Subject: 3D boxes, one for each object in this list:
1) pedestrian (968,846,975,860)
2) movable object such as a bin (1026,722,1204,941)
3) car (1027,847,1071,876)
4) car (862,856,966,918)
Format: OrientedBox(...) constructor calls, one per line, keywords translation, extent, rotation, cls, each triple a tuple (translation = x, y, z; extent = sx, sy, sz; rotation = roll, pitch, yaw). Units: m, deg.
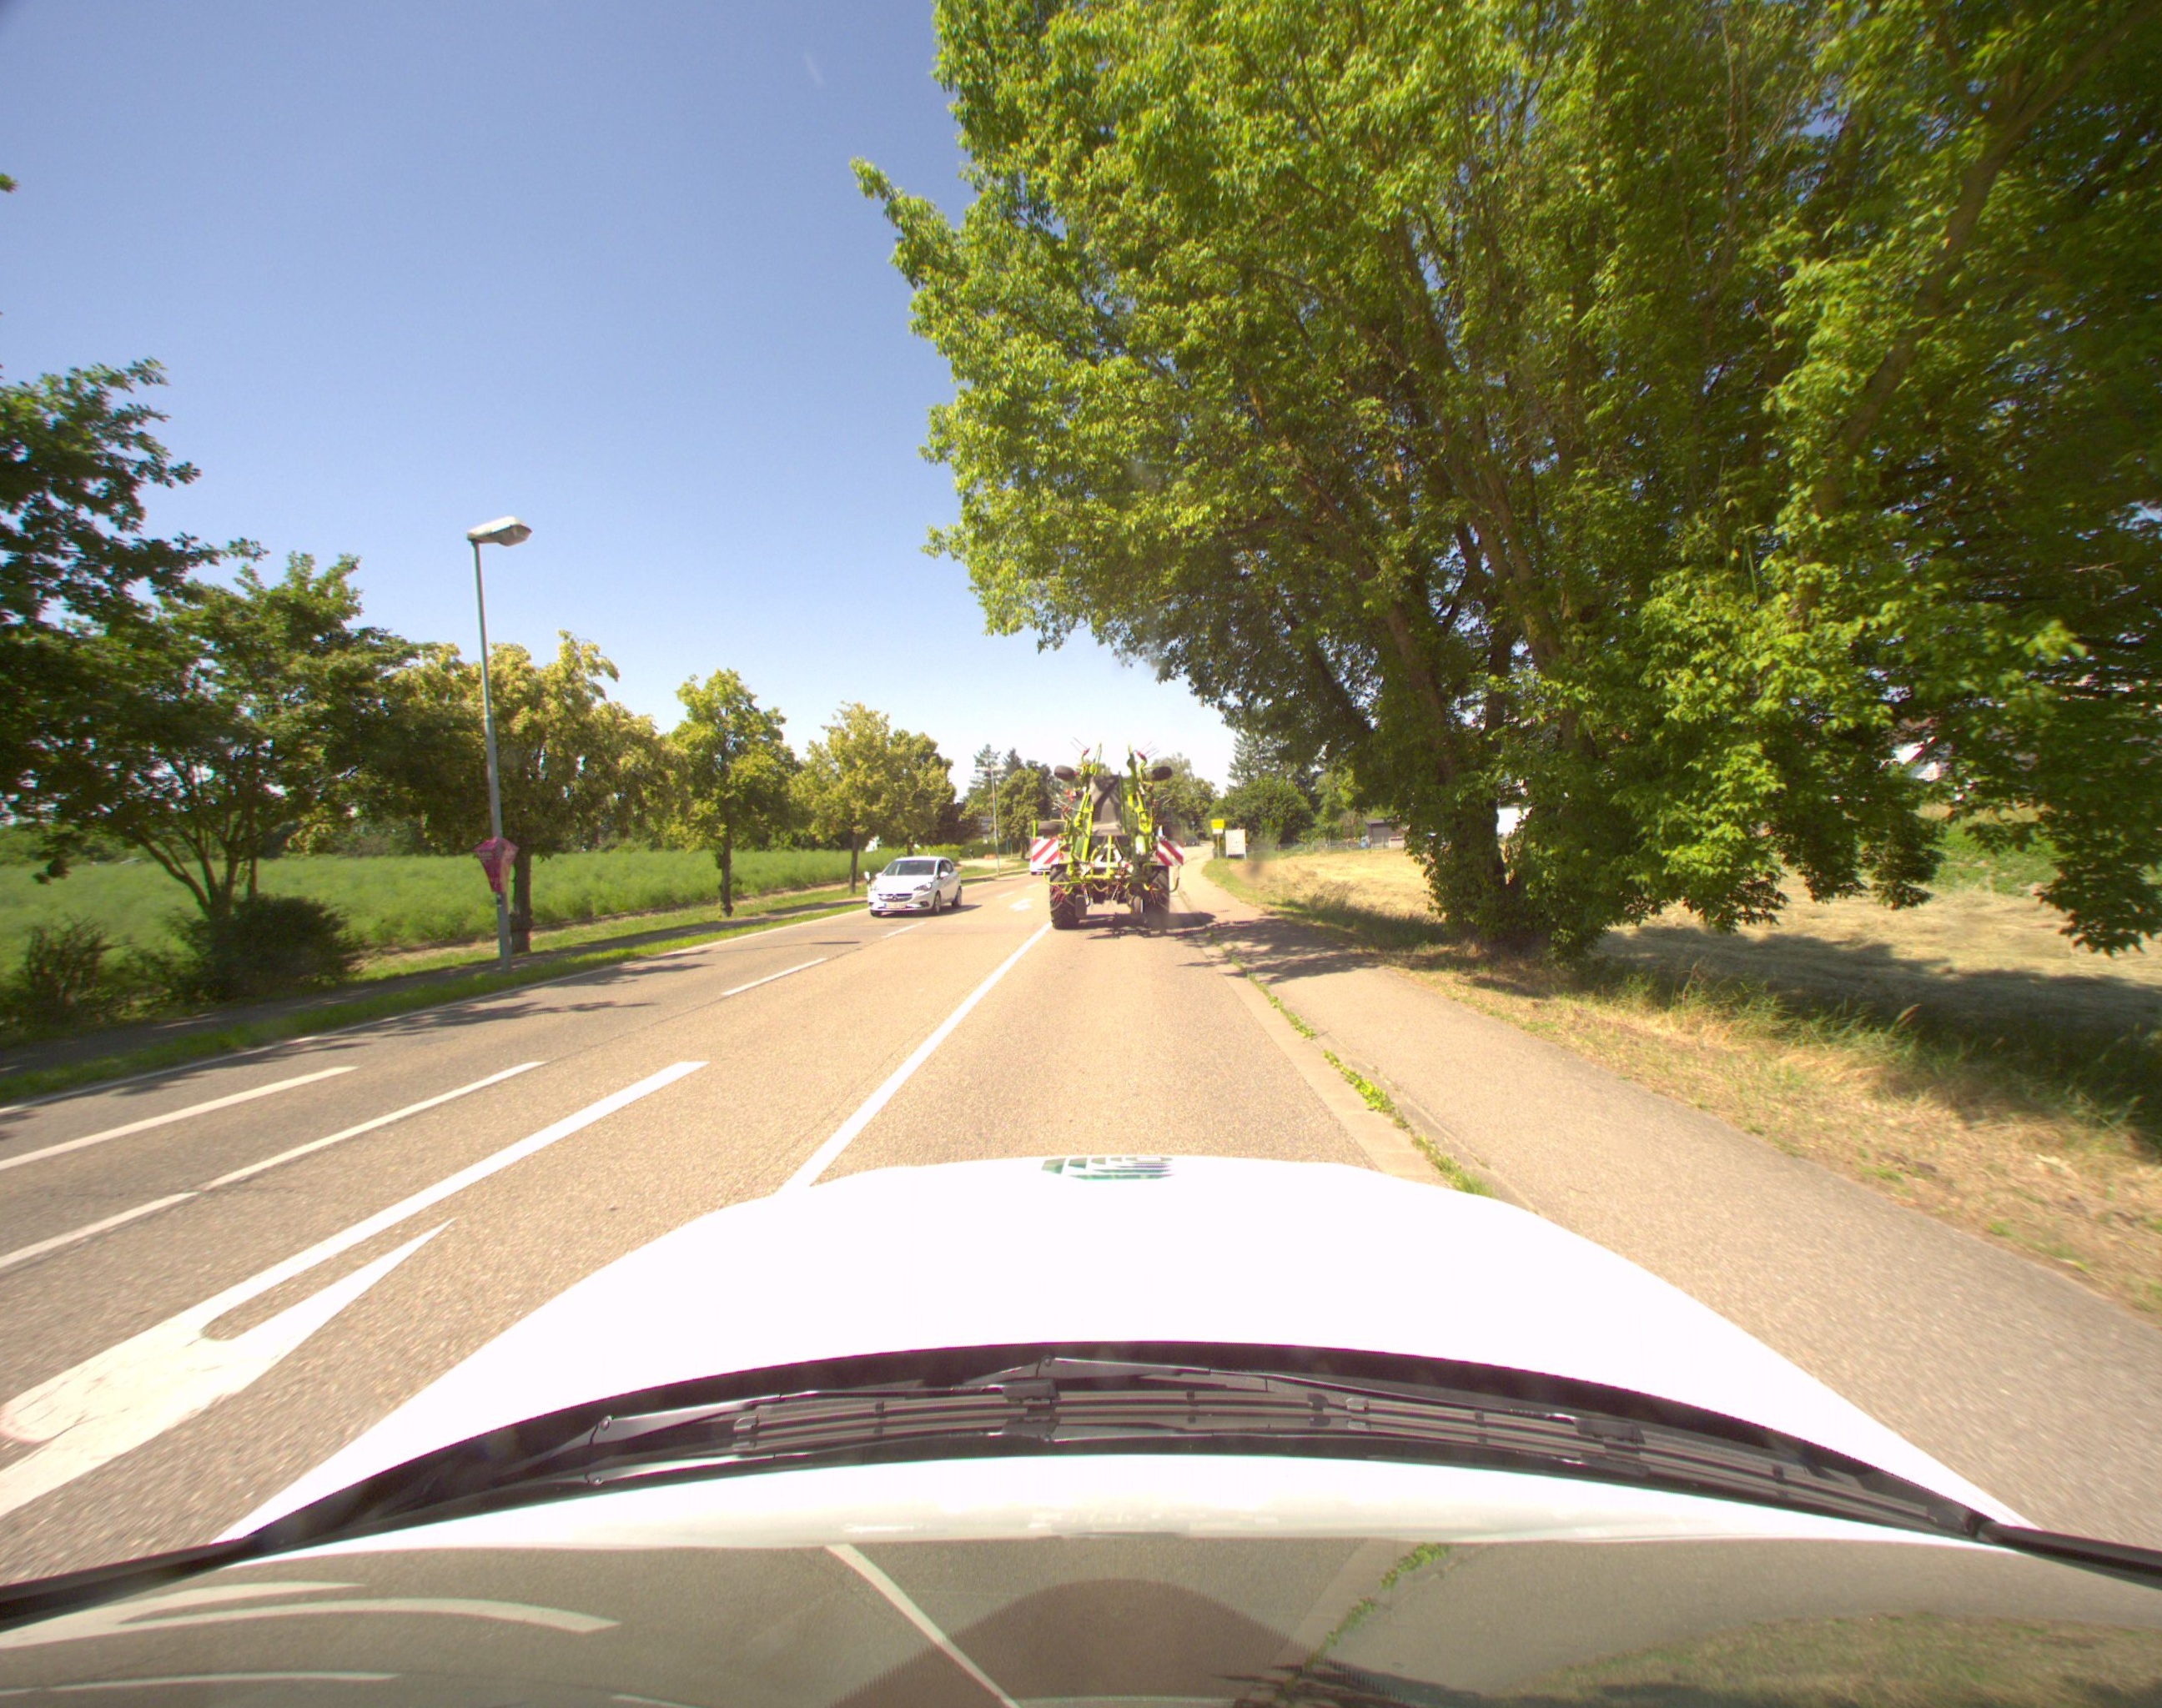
OrientedBox(translation=(-13.615, -0.090, 101.210), extent=(0.545, 1.716, 0.679), rotation=(0, 0, 14), cls="pedestrian")
OrientedBox(translation=(0.640, -0.408, 18.161), extent=(2.843, 3.541, 9.702), rotation=(-1, 0, 1), cls="movable object such as a bin")
OrientedBox(translation=(-1.841, 0.395, 48.243), extent=(1.866, 1.572, 4.481), rotation=(-2, 1, 7), cls="car")
OrientedBox(translation=(-4.286, 0.802, 21.519), extent=(1.641, 1.434, 3.902), rotation=(-1, 0, 4), cls="car")
